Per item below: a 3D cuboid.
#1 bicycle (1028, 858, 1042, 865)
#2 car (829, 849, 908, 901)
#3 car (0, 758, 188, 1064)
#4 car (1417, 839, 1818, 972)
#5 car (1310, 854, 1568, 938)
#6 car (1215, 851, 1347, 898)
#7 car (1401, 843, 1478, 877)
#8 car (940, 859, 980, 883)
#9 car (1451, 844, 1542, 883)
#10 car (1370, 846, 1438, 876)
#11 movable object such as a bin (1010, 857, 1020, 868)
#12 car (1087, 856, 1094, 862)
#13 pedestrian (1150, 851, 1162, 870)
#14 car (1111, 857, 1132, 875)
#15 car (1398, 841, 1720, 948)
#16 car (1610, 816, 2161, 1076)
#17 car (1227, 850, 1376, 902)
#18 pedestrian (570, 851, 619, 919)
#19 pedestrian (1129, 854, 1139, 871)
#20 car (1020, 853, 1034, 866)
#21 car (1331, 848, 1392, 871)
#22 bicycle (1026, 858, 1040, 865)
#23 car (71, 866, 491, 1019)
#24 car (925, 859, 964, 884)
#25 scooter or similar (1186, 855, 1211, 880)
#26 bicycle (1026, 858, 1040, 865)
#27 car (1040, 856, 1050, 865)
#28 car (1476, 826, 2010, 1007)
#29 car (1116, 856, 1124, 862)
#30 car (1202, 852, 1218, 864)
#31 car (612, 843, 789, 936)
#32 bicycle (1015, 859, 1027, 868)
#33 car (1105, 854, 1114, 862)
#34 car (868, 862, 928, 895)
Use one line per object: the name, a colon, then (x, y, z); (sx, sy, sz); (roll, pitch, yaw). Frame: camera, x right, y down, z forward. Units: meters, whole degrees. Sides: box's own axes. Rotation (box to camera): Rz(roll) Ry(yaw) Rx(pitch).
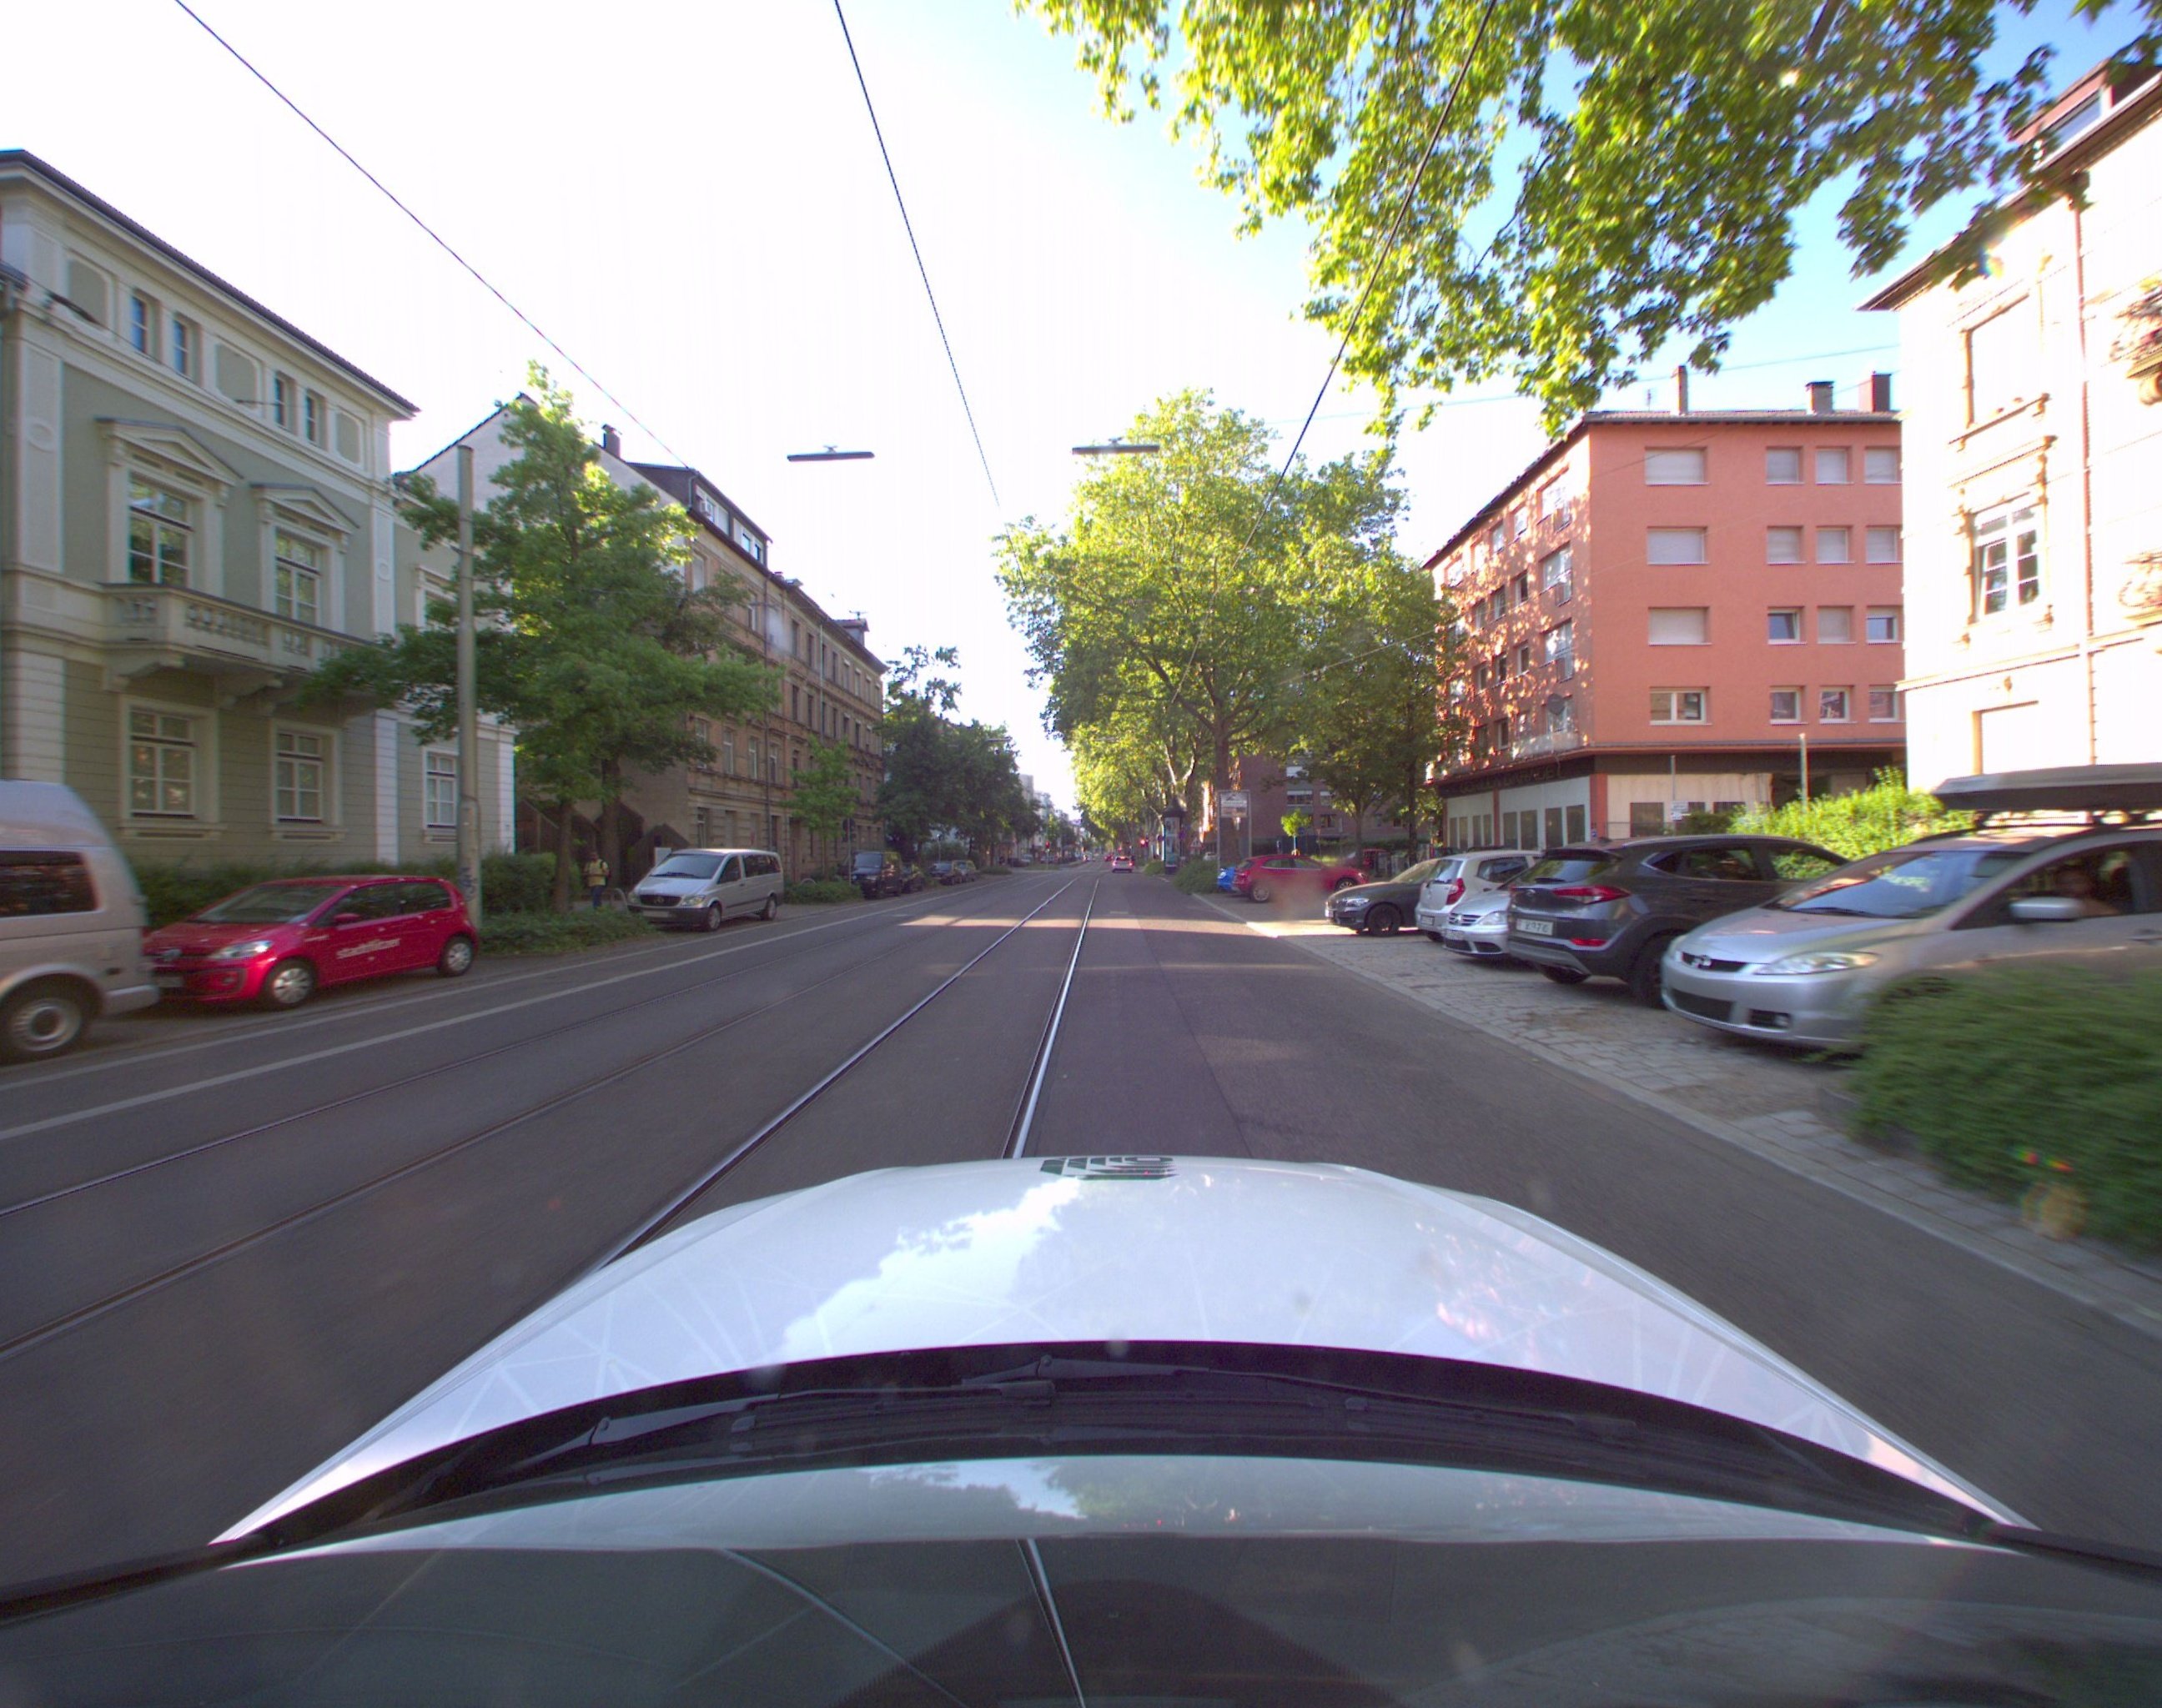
bicycle: (-7.701, 1.258, 135.440); (2.244, 1.074, 0.637); (2, 0, 2)
car: (-8.935, 0.838, 34.662); (1.987, 2.013, 4.834); (-1, 0, 1)
car: (-9.996, 0.486, 5.359); (2.296, 2.508, 5.343); (-1, 0, 0)
car: (7.020, 0.650, 11.043); (4.181, 1.574, 1.819); (-1, 0, 3)
car: (6.778, 0.767, 15.761); (4.185, 1.448, 1.818); (-1, 0, 1)
car: (7.004, 0.718, 28.932); (4.378, 1.543, 1.822); (-1, 0, 8)
car: (16.738, 0.270, 38.227); (1.742, 1.435, 4.470); (-2, 0, 2)
car: (-8.179, 1.123, 55.602); (1.692, 1.550, 4.542); (0, 0, 5)
car: (16.695, 0.346, 32.960); (1.742, 1.435, 3.952); (-2, 0, 2)
car: (18.320, 0.392, 46.375); (1.785, 1.574, 4.572); (-2, 0, -4)
movable object such as a bin: (-8.725, 1.112, 107.305); (1.167, 1.348, 0.782); (3, -1, -3)
car: (2.465, 1.244, 204.132); (1.687, 1.419, 4.001); (-1, 0, 1)
pedestrian: (7.794, 0.699, 84.842); (0.980, 1.863, 1.015); (-5, 0, -4)
car: (3.523, 1.020, 71.800); (1.782, 1.513, 4.001); (-1, 0, 1)
car: (7.619, 0.627, 13.327); (4.181, 1.555, 1.819); (-1, 0, 3)
car: (6.628, 0.574, 6.033); (4.181, 1.619, 1.819); (-1, 0, 3)
car: (7.118, 0.705, 26.645); (4.384, 1.543, 1.954); (-1, 0, 3)
pedestrian: (-12.156, 0.755, 20.368); (0.602, 1.662, 0.948); (0, 0, 3)
pedestrian: (5.746, 0.883, 88.194); (0.992, 1.811, 0.863); (-1, 0, -4)
car: (-7.939, 0.833, 120.697); (1.682, 1.940, 4.001); (-1, 0, 1)
car: (18.781, 0.347, 54.608); (3.527, 1.452, 1.683); (-2, 0, -1)
bicycle: (-7.901, 1.238, 133.612); (2.244, 1.074, 0.637); (2, 0, 2)
car: (-9.839, 0.967, 10.497); (1.679, 1.539, 3.708); (-1, 0, 1)
car: (-8.348, 1.057, 50.121); (1.652, 1.445, 3.950); (0, 0, 1)
scooter or similar: (6.145, 0.715, 42.603); (1.204, 1.240, 0.569); (-2, -1, -1)
bicycle: (-7.800, 1.228, 131.863); (2.244, 1.074, 0.637); (2, 0, 2)
car: (-6.735, 1.234, 152.721); (1.587, 1.548, 4.001); (1, 0, 2)
car: (6.739, 0.584, 8.648); (4.188, 1.619, 1.877); (-1, 0, -2)
car: (9.938, 1.245, 206.518); (1.986, 1.453, 4.001); (-1, 0, 1)
car: (17.067, 0.512, 108.010); (1.595, 1.495, 3.417); (-1, 0, 0)
car: (-9.235, 0.781, 20.344); (1.836, 1.989, 4.991); (-1, 0, 3)
bicycle: (-8.015, 1.281, 109.364); (1.528, 1.075, 0.885); (2, 0, 0)
car: (6.222, 0.870, 178.977); (1.782, 1.513, 4.001); (-1, 0, 1)
car: (-8.874, 1.140, 39.831); (1.847, 1.458, 4.270); (-1, 0, 0)
